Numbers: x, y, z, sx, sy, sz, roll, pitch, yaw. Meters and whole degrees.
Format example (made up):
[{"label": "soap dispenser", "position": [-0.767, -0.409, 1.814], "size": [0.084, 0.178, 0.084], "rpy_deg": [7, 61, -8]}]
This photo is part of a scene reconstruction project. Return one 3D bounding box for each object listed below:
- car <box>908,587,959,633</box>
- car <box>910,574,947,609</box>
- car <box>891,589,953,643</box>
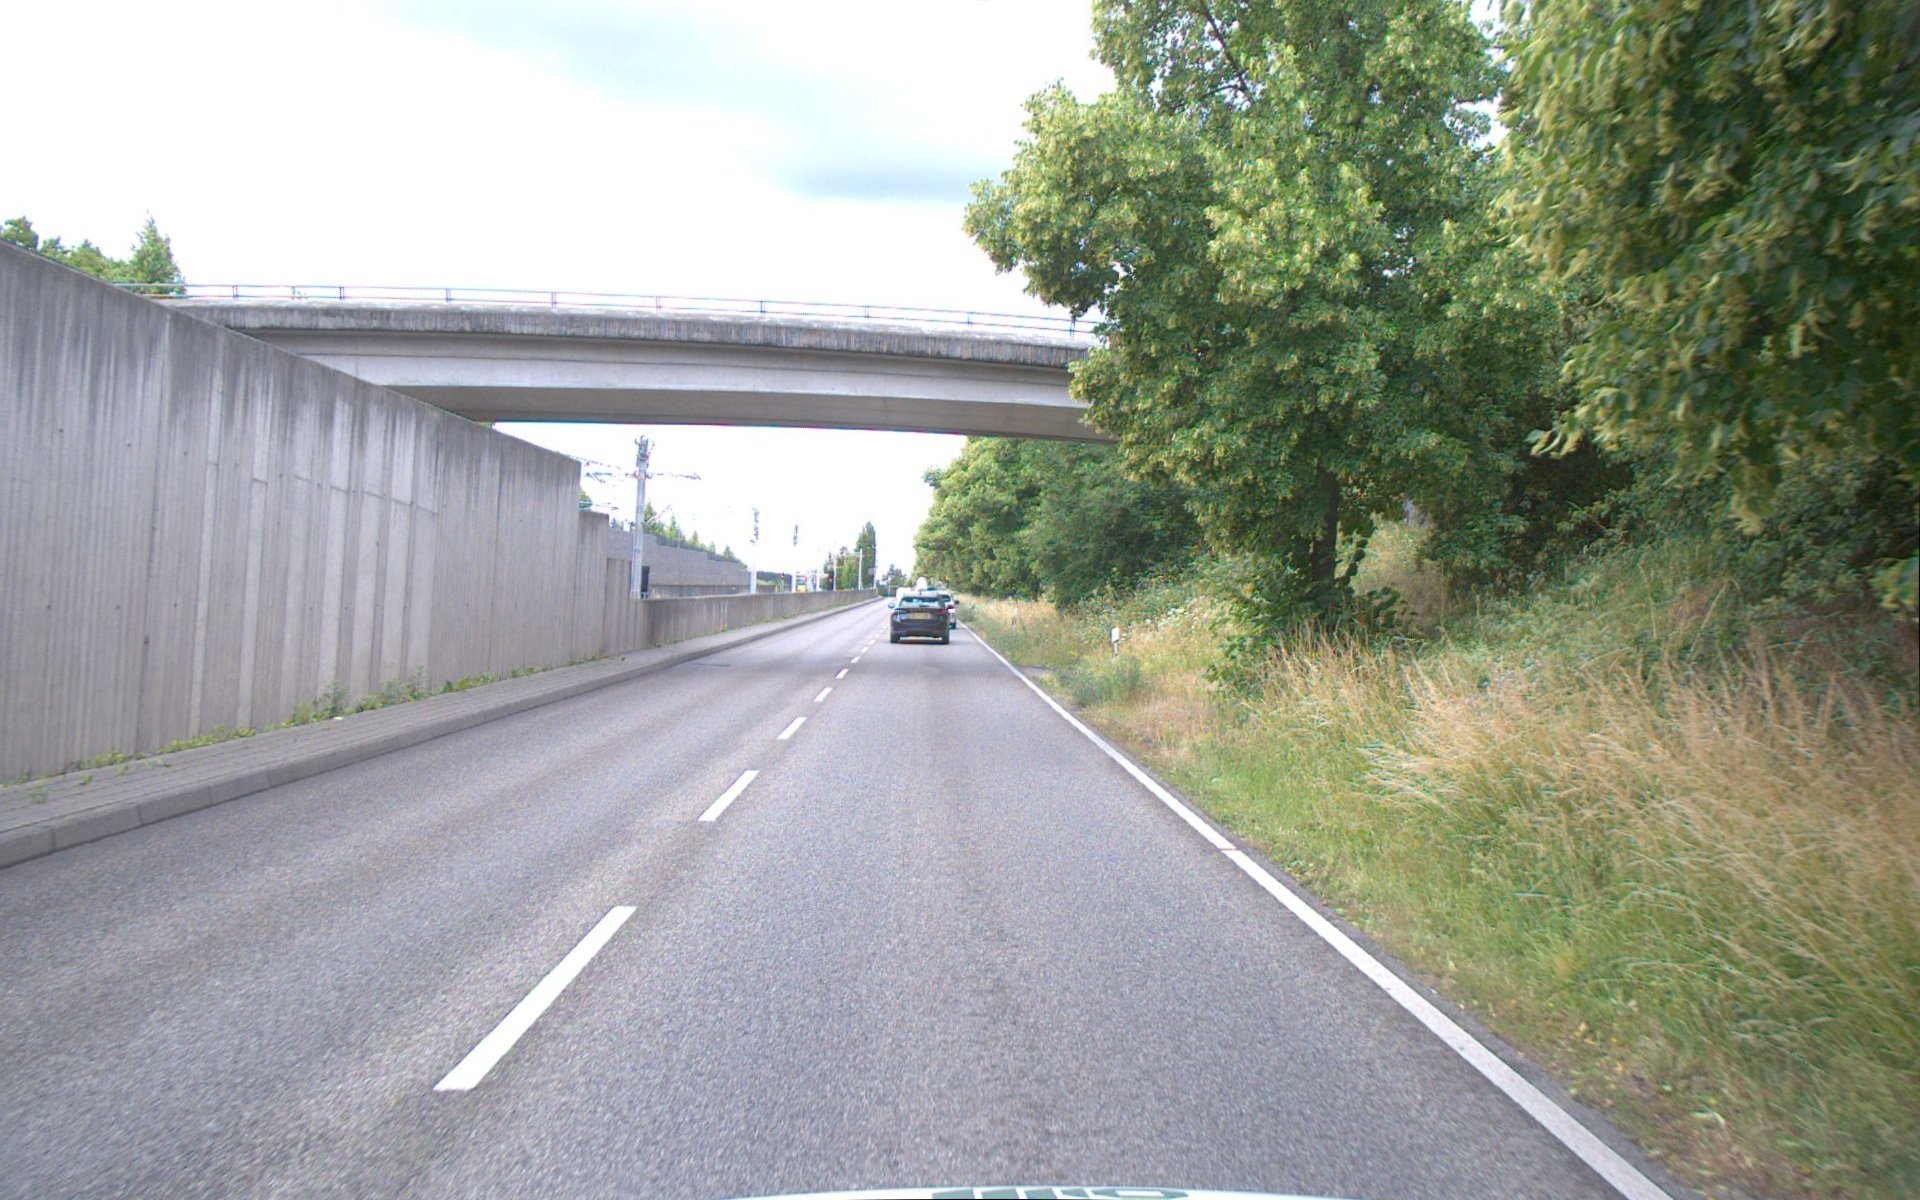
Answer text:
[{"label": "car", "position": [-1.089, 0.379, 66.871], "size": [1.953, 1.783, 3.999], "rpy_deg": [1, 0, -1]}, {"label": "car", "position": [-1.722, -0.446, 90.763], "size": [1.953, 1.771, 3.999], "rpy_deg": [1, -1, -1]}, {"label": "car", "position": [-1.113, 0.441, 48.867], "size": [1.745, 1.493, 3.999], "rpy_deg": [1, 0, -1]}]
